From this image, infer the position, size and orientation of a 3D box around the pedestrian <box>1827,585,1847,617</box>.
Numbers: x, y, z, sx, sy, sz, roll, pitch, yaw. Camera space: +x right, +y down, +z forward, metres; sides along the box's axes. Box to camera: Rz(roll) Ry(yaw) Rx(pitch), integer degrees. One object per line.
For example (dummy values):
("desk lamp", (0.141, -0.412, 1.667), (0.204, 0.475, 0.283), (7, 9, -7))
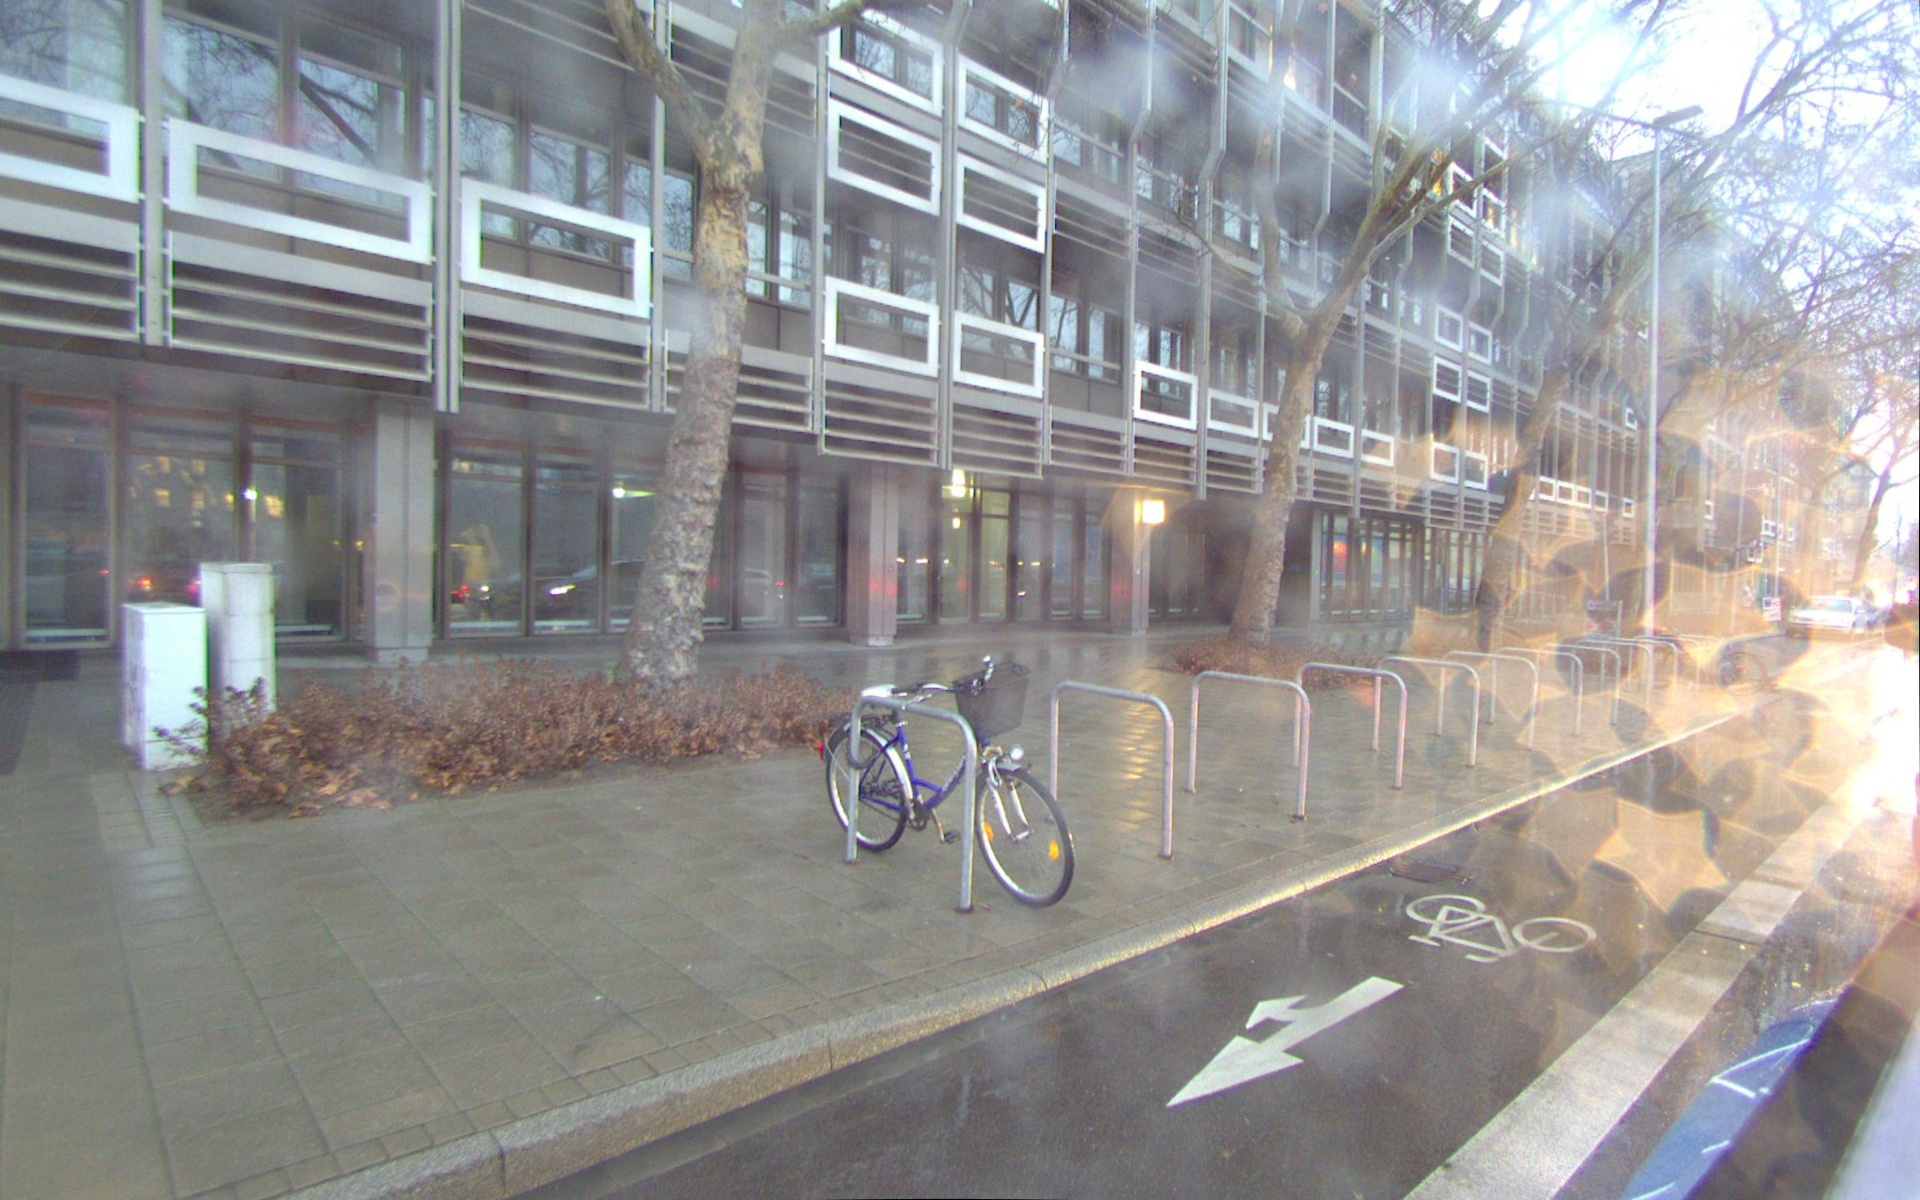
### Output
("pedestrian", (48.719, 0.046, 56.207), (0.765, 1.771, 0.913), (2, 2, 45))

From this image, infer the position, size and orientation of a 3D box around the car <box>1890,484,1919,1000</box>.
("car", (5.496, 0.496, 4.325), (3.931, 1.864, 1.876), (-1, 0, -42))

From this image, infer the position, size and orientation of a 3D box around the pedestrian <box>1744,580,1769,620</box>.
("pedestrian", (36.067, -0.031, 45.841), (0.765, 1.771, 0.913), (2, 2, 45))

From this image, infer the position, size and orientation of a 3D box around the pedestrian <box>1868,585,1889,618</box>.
("pedestrian", (49.899, 0.088, 54.979), (0.765, 1.771, 0.913), (2, 2, 45))

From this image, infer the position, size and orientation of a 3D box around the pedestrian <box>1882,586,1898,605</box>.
("pedestrian", (68.011, -0.343, 74.002), (0.738, 1.354, 0.781), (0, 0, -41))

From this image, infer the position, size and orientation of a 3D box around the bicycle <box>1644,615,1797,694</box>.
("bicycle", (11.690, 0.799, 15.599), (0.864, 1.004, 1.704), (0, 4, -41))

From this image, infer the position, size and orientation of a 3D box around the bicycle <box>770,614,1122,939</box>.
("bicycle", (-0.152, 0.712, 4.869), (0.629, 1.145, 1.810), (2, 2, -41))

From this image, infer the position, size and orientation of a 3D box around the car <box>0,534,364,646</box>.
("car", (-10.674, -0.176, 14.016), (3.929, 1.326, 1.998), (0, 3, -40))

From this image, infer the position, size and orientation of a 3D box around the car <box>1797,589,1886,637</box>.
("car", (29.418, 0.384, 33.729), (3.930, 1.482, 1.711), (-1, 1, -41))

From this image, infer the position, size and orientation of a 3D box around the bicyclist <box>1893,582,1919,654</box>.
("bicyclist", (23.010, 0.428, 24.347), (0.947, 1.681, 0.704), (1, 1, -41))

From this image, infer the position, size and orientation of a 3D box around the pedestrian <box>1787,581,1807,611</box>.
("pedestrian", (50.063, -0.231, 60.535), (0.765, 1.771, 0.913), (2, 2, 45))
